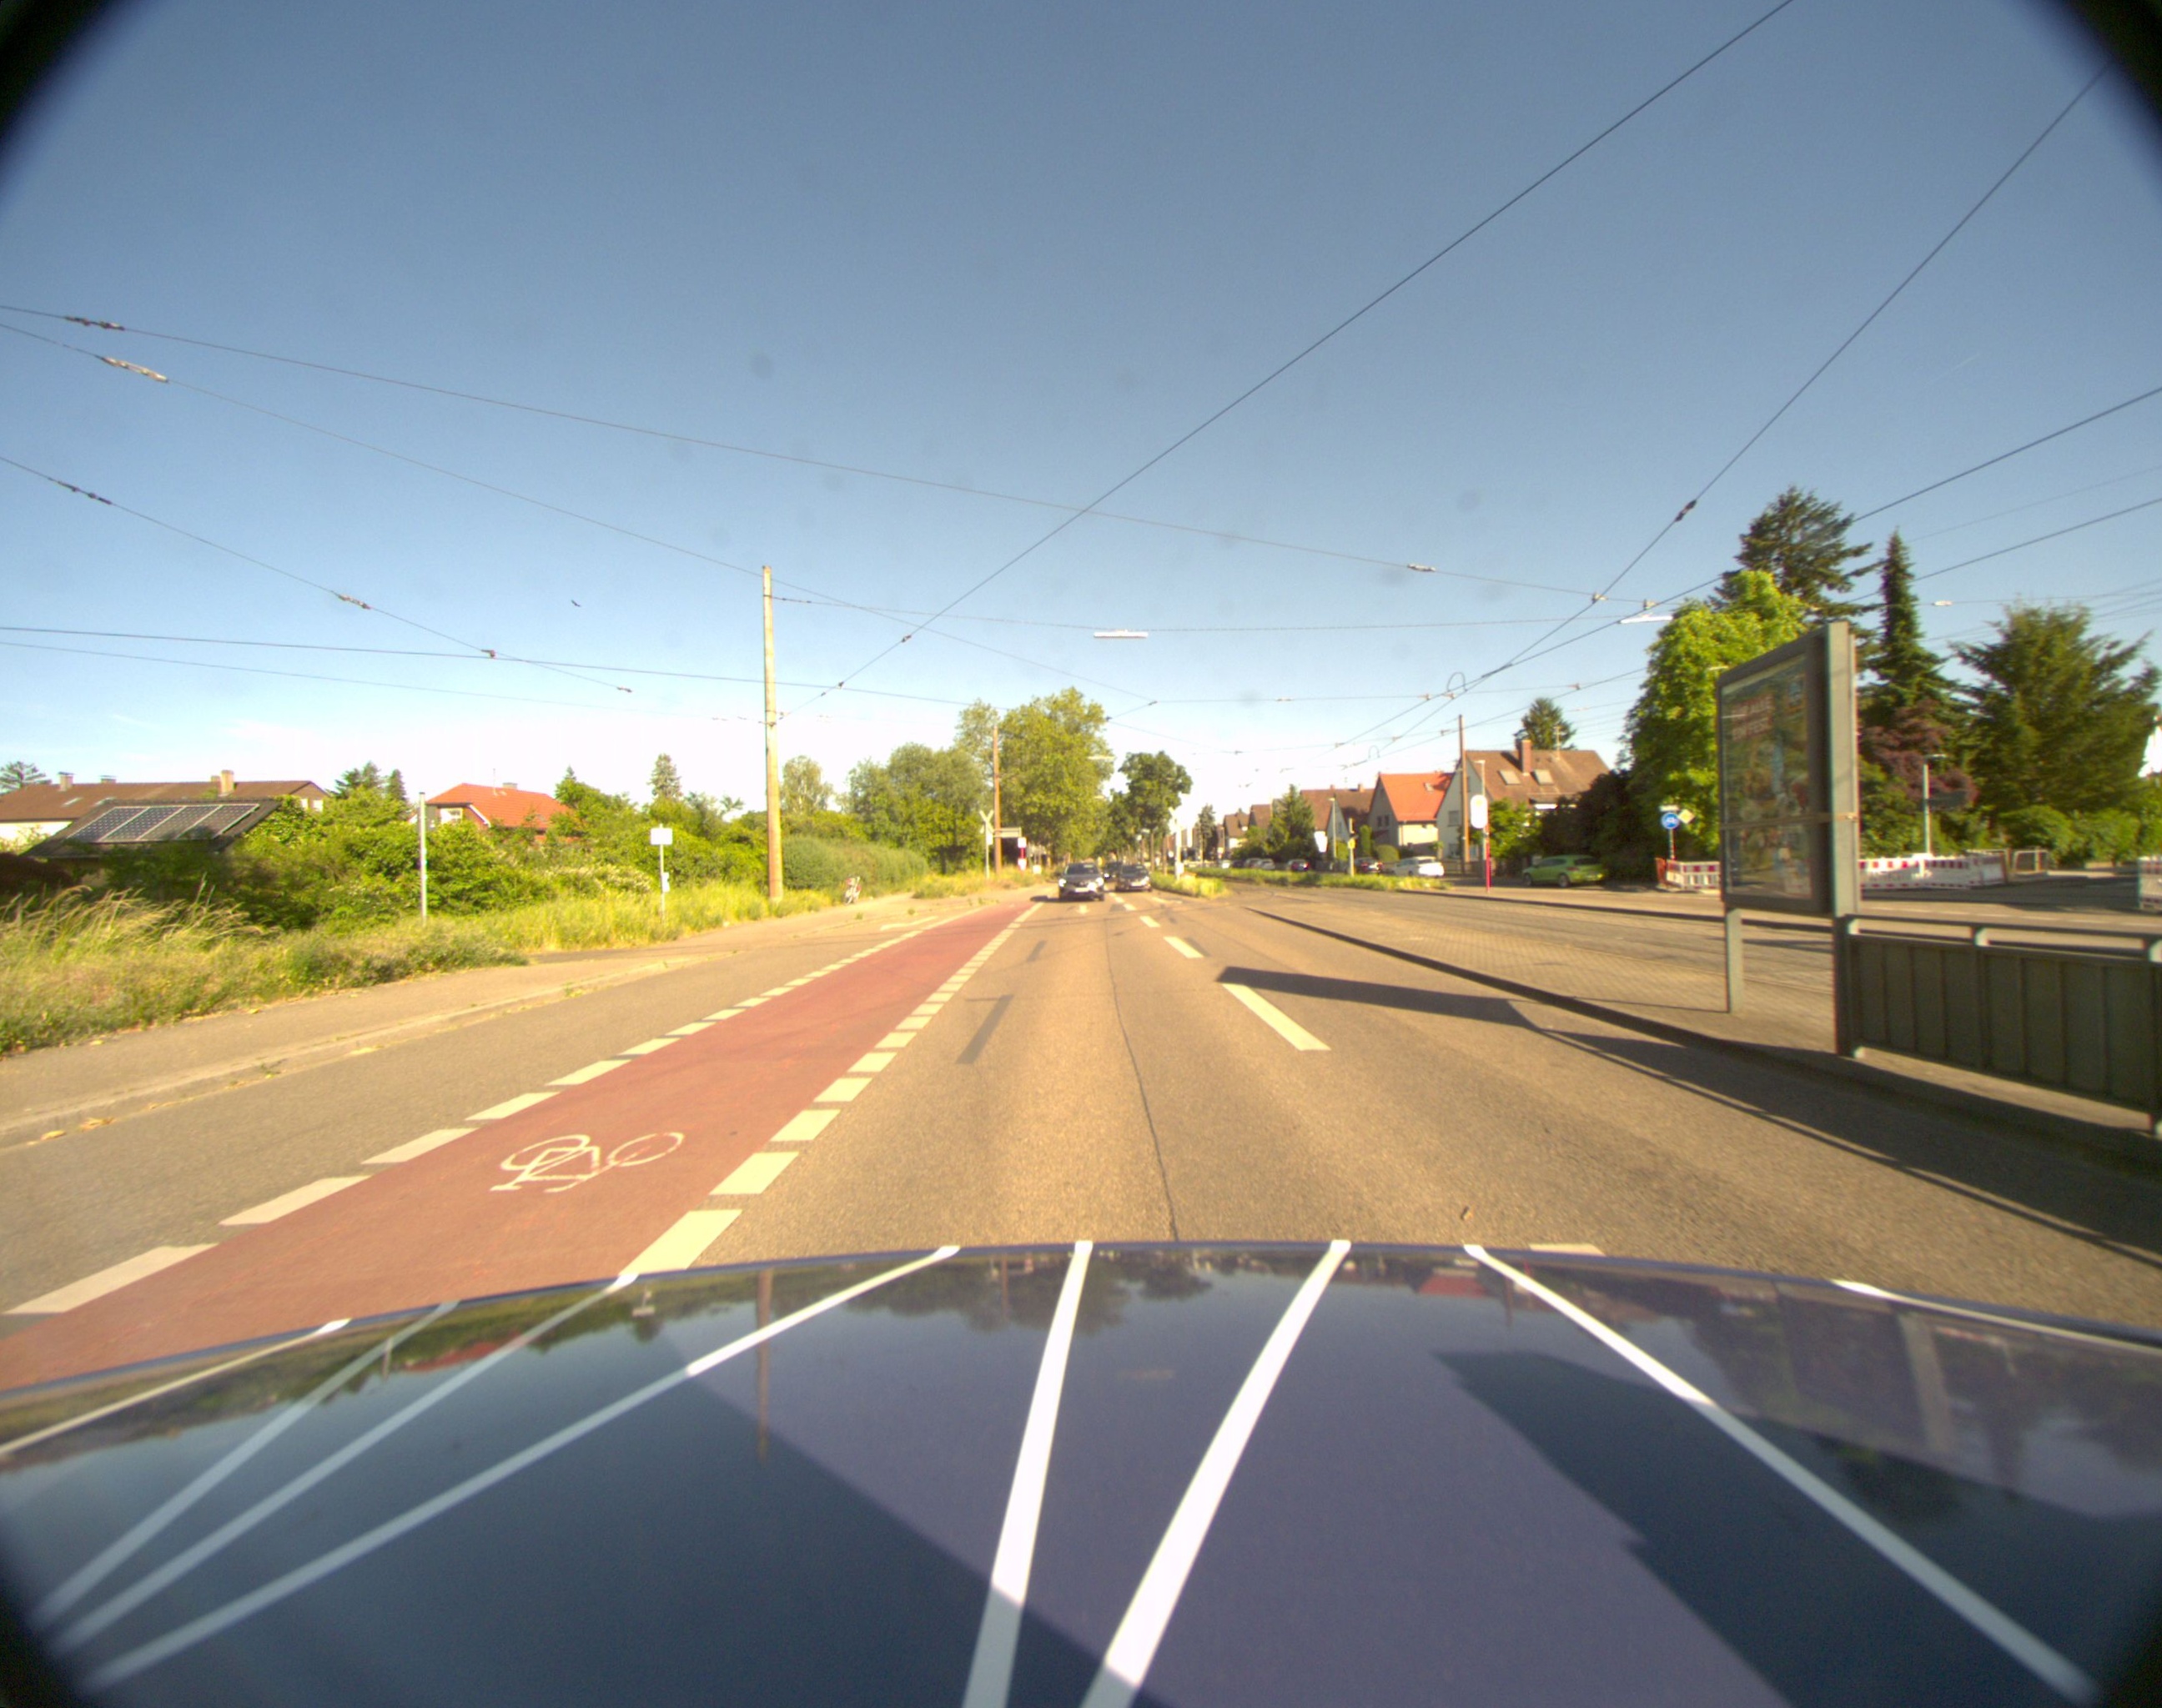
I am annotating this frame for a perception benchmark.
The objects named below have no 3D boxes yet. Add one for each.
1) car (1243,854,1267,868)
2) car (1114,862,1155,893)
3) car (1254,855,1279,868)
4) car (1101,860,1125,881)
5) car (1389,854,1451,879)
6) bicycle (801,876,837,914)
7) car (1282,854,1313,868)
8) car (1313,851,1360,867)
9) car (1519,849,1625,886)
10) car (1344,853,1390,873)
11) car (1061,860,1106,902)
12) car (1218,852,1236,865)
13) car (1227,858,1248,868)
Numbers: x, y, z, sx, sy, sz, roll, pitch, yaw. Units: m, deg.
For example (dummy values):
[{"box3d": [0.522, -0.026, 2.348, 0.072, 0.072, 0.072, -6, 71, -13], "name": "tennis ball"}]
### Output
[{"box3d": [22.167, 0.887, 96.970, 1.888, 1.552, 4.537, -3, 0, 1], "name": "car"}, {"box3d": [2.758, 1.204, 40.094, 1.780, 1.441, 4.333, -2, 0, -1], "name": "car"}, {"box3d": [22.403, 0.925, 91.915, 1.888, 1.463, 4.839, -3, 0, 1], "name": "car"}, {"box3d": [2.564, 1.300, 62.412, 1.779, 1.620, 4.288, -1, 0, 0], "name": "car"}, {"box3d": [21.856, 0.762, 49.222, 1.888, 1.464, 4.614, -3, 0, -1], "name": "car"}, {"box3d": [-8.502, 1.323, 24.744, 0.366, 1.128, 2.096, -1, 0, 2], "name": "bicycle"}, {"box3d": [22.061, 0.740, 77.674, 1.998, 1.363, 4.310, -2, 0, 1], "name": "car"}, {"box3d": [28.022, 0.579, 83.351, 4.488, 1.462, 1.748, -4, 0, -1], "name": "car"}, {"box3d": [22.045, 0.576, 34.312, 1.999, 1.492, 4.068, -3, 0, -3], "name": "car"}, {"box3d": [22.162, 0.670, 59.002, 1.912, 1.457, 4.441, -3, 0, 1], "name": "car"}, {"box3d": [0.097, 1.058, 30.942, 1.673, 1.529, 3.586, -2, 0, 0], "name": "car"}, {"box3d": [22.536, 0.656, 117.521, 1.998, 1.852, 4.584, -2, 0, 1], "name": "car"}, {"box3d": [22.343, 1.299, 108.675, 1.998, 1.333, 4.982, -3, 0, 1], "name": "car"}]
